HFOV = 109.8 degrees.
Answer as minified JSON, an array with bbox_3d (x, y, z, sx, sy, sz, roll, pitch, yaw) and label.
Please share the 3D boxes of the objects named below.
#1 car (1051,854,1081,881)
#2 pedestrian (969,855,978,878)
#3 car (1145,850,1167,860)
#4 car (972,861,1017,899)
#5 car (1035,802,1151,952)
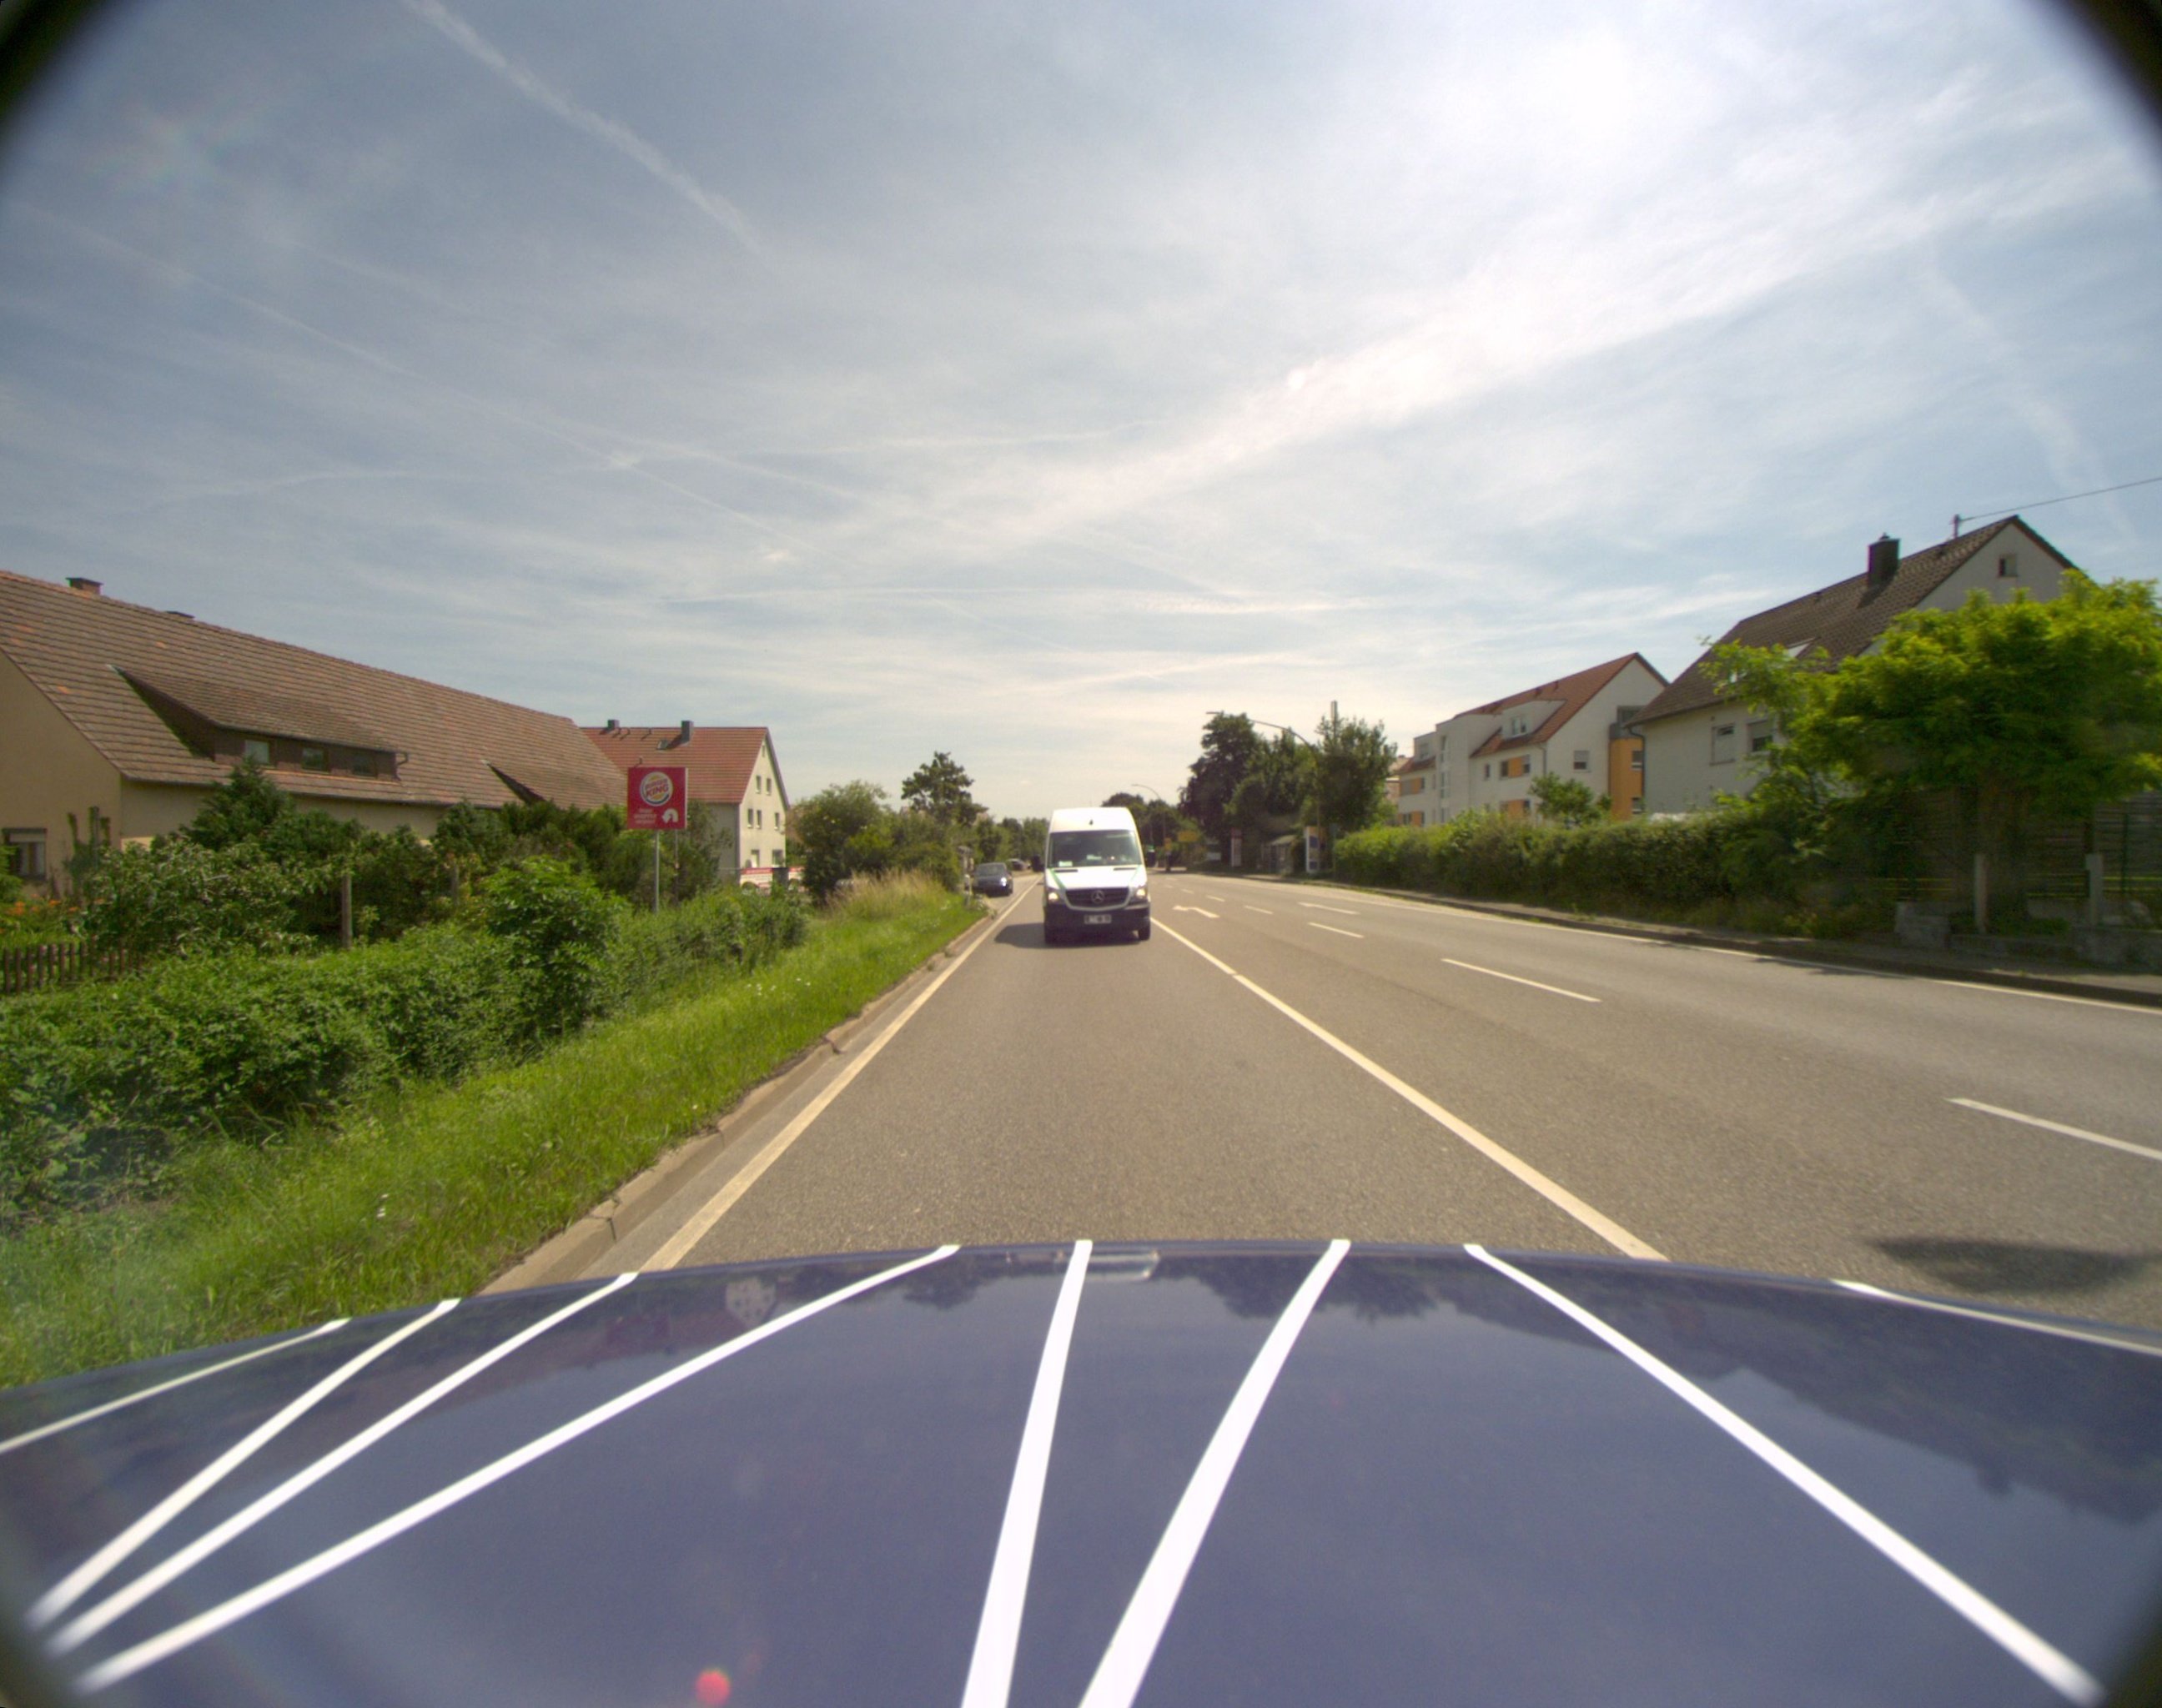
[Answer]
[{"bbox_3d":[-0.991,0.850,50.875,1.884,1.652,4.625,-2,0,-1],"label":"car"},{"bbox_3d":[-7.533,0.862,53.213,0.522,1.540,0.562,-2,2,-19],"label":"pedestrian"},{"bbox_3d":[15.332,0.157,155.120,3.998,1.760,1.999,-3,1,-4],"label":"car"},{"bbox_3d":[-3.886,1.128,34.509,1.636,1.476,3.551,-5,1,-2],"label":"car"},{"bbox_3d":[0.180,0.390,15.978,1.939,2.514,5.748,-2,0,-1],"label":"car"}]
